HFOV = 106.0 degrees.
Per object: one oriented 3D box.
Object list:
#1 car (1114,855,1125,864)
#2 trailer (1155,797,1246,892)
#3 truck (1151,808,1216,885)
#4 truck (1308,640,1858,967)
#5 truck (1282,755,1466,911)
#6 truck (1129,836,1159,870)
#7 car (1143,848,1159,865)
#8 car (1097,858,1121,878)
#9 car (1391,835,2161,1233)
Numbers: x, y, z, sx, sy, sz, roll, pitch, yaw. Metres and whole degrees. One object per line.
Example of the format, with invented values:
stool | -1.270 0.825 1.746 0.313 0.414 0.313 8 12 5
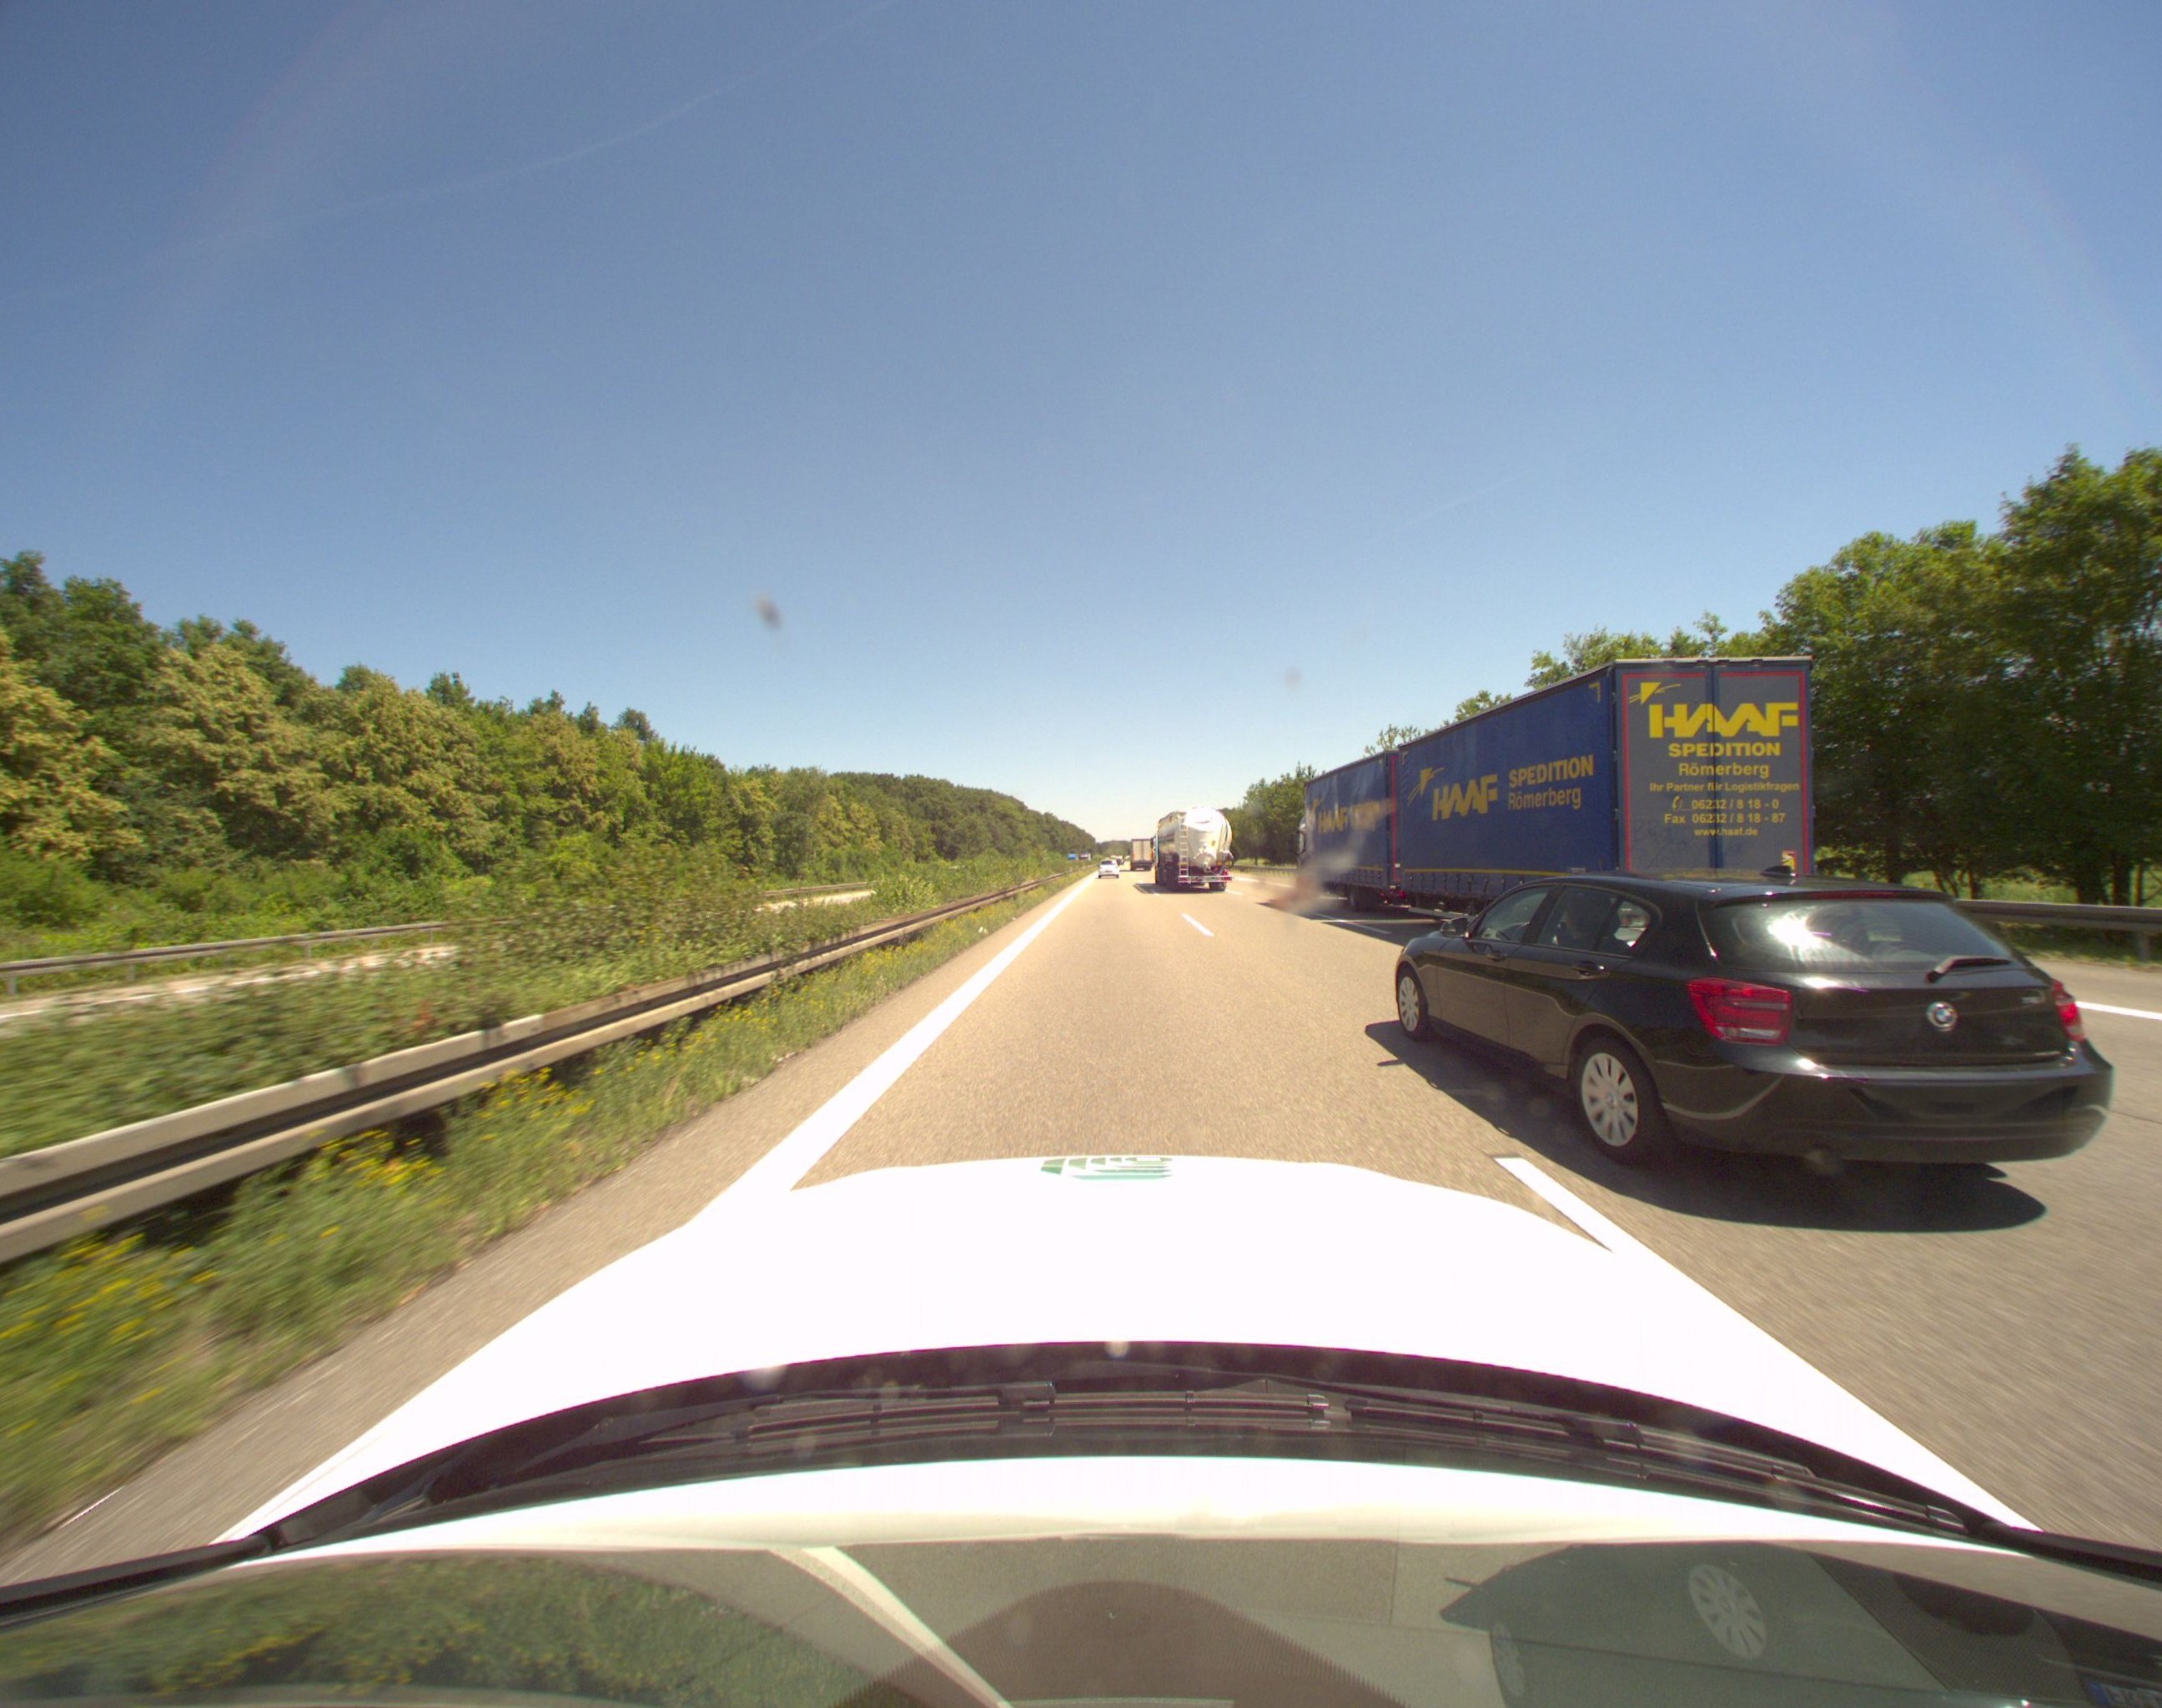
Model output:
car | 9.469 1.322 200.603 2.466 2.354 5.183 0 0 2
trailer | 5.671 -0.399 41.094 2.901 4.069 12.419 0 0 1
truck | 5.742 -0.412 46.741 2.902 4.079 7.195 0 0 1
truck | 8.519 -0.633 18.082 3.097 4.139 15.517 0 0 2
truck | 8.774 -0.558 25.644 3.097 4.139 8.059 0 0 2
truck | 8.082 -0.118 106.500 3.382 4.214 12.088 0 0 2
car | 13.351 0.391 155.278 2.659 3.189 5.569 0 0 2
car | 2.268 1.140 66.778 1.793 1.552 3.610 0 0 0
car | 3.542 0.693 5.118 1.843 1.523 3.960 0 0 3
